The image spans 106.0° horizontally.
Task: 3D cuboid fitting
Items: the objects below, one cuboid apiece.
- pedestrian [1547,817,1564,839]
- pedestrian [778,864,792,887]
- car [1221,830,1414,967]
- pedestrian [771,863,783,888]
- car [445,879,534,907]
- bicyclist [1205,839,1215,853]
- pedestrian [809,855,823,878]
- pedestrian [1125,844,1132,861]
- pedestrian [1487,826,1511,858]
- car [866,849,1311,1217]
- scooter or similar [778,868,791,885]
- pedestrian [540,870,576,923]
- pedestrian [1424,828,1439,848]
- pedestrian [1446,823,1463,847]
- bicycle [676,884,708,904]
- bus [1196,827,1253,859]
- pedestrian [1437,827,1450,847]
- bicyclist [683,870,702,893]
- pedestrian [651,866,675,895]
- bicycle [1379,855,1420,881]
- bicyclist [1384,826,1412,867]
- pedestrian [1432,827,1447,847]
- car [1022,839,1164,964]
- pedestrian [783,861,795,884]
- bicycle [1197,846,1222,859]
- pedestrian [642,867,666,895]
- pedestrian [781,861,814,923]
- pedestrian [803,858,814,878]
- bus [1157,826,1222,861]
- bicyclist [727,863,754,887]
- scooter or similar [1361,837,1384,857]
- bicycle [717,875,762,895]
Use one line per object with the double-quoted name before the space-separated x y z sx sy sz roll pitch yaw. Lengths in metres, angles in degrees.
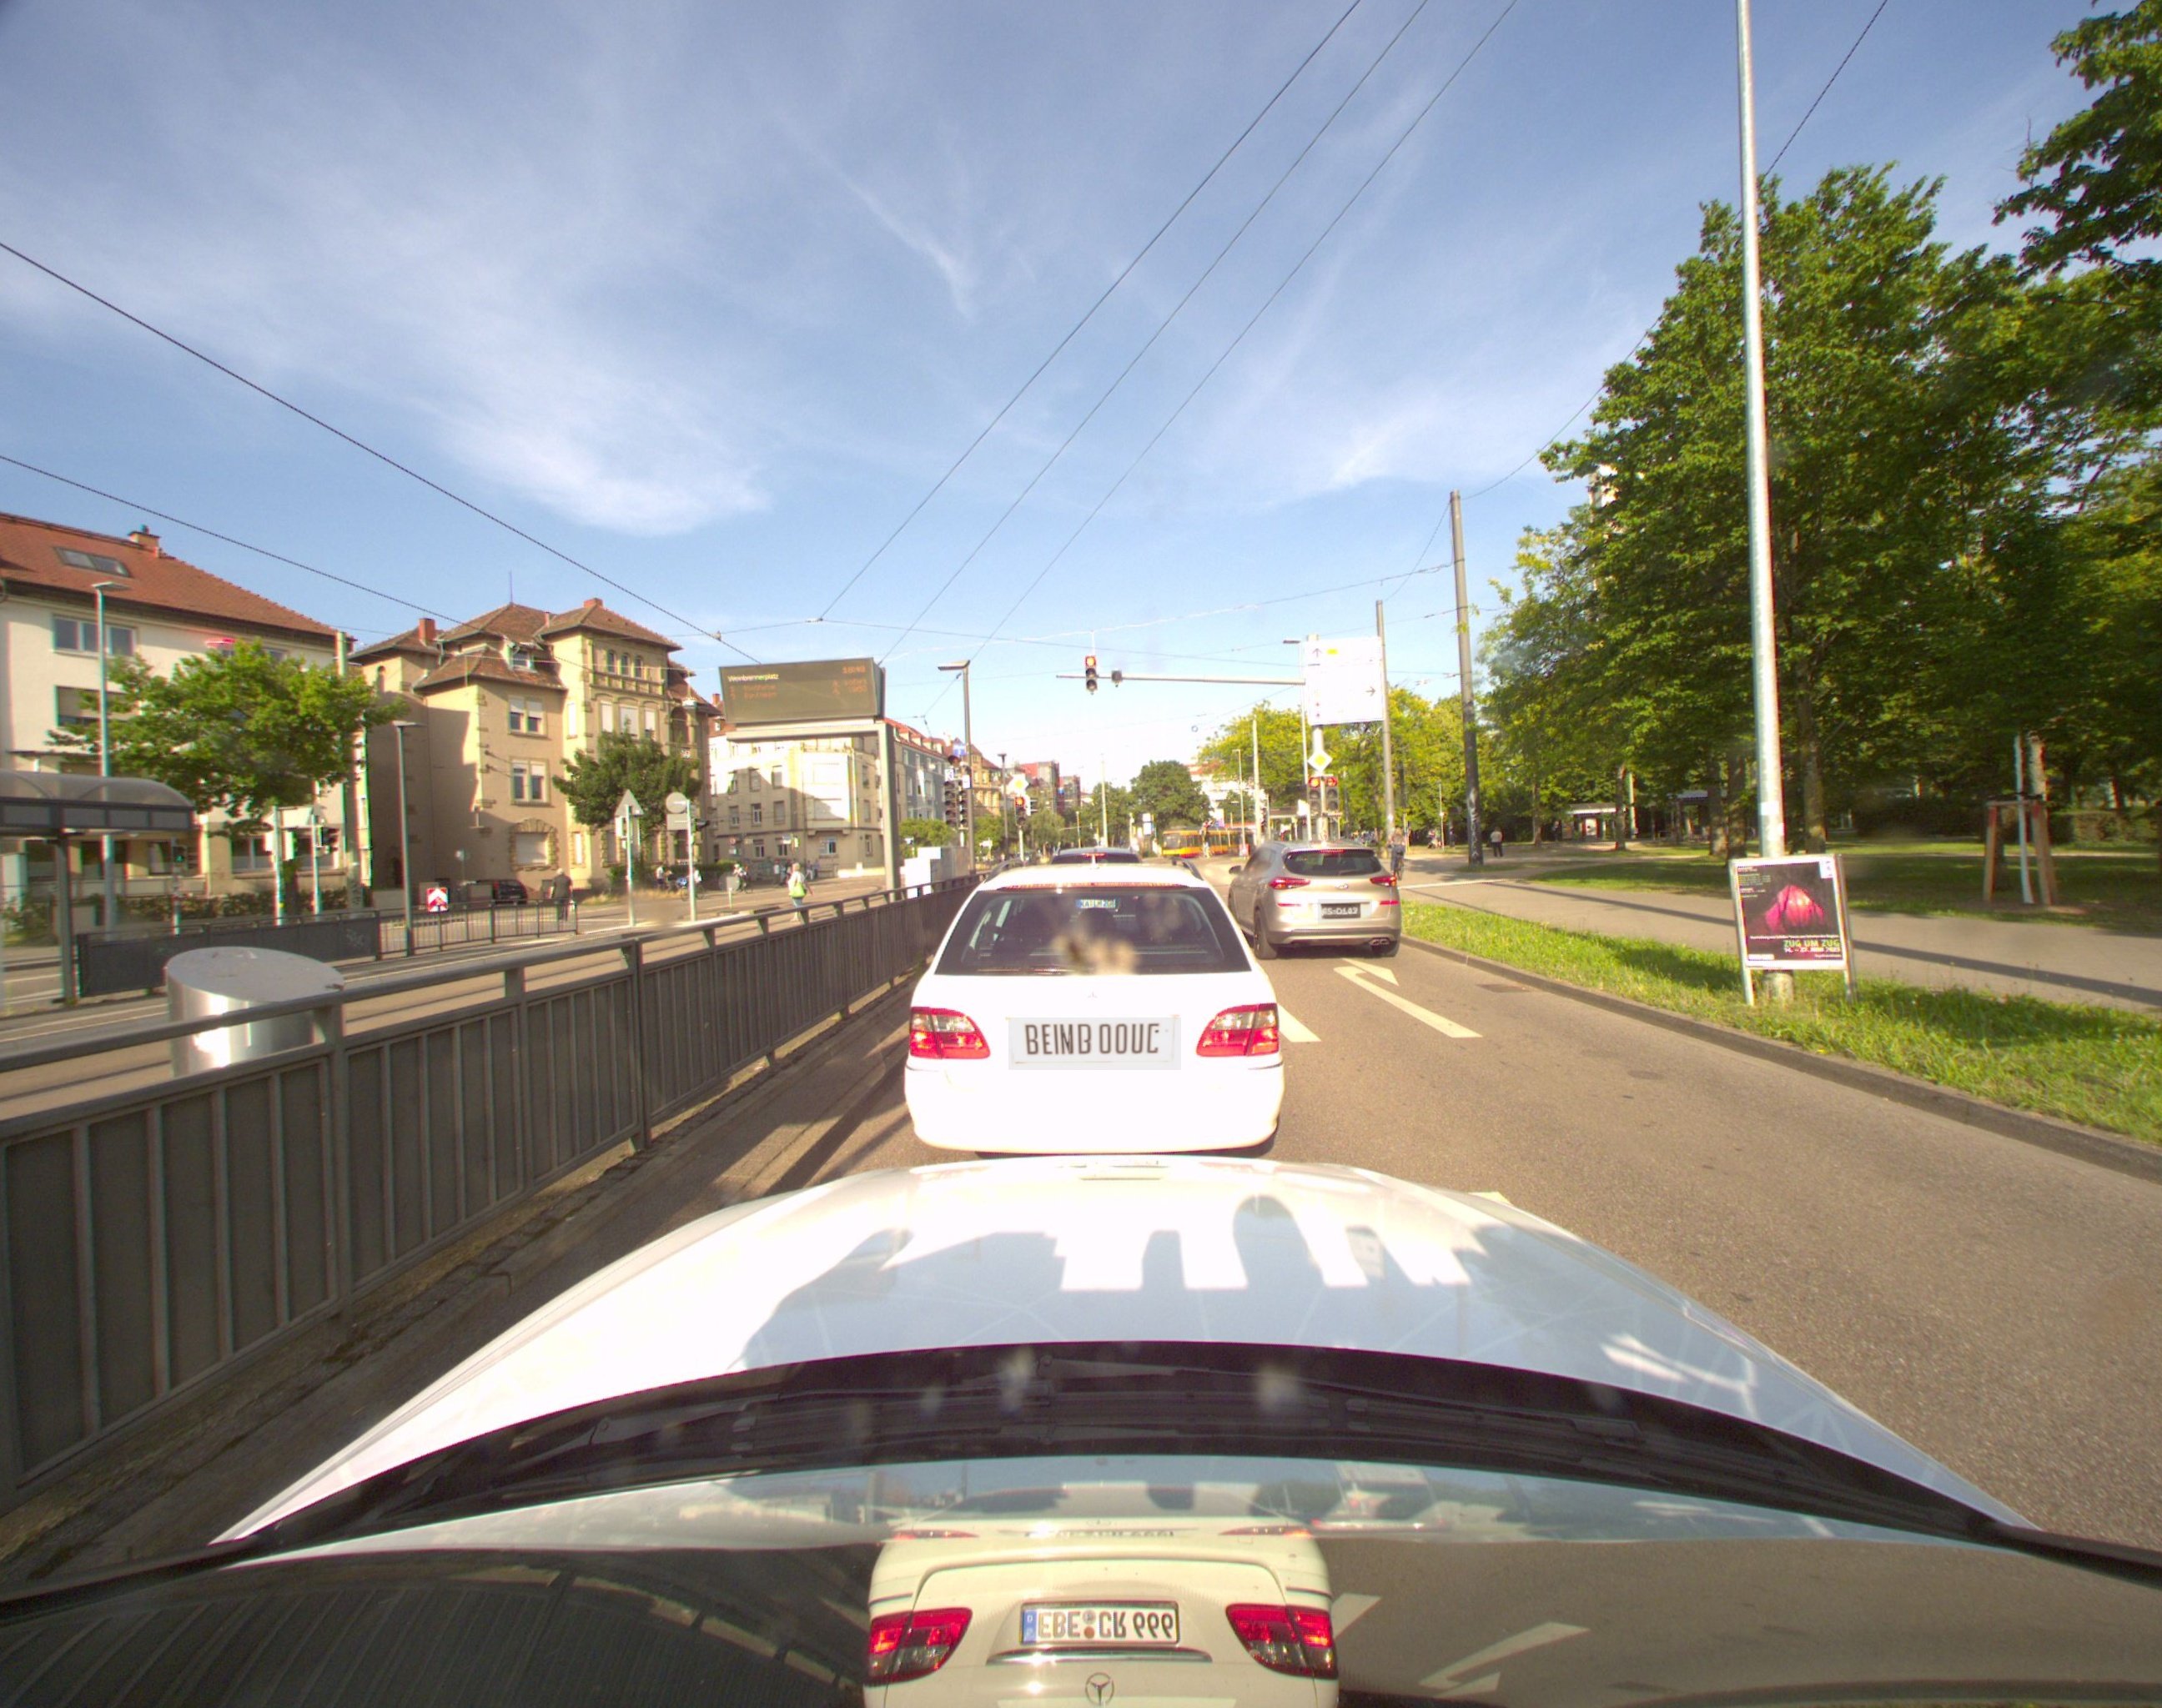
"pedestrian" 36.331 -1.957 62.372 0.831 1.636 0.804 -3 0 8
"pedestrian" -20.131 1.452 55.356 0.626 1.541 0.711 -3 0 1
"car" 3.335 0.564 12.225 1.878 1.651 3.649 -3 0 2
"pedestrian" -19.779 1.387 52.990 0.506 1.626 0.609 -3 0 3
"car" -29.454 1.914 40.565 4.066 1.310 1.774 -1 -1 24
"bicyclist" 13.446 -0.818 84.946 0.855 1.481 0.792 -3 0 11
"pedestrian" -23.292 1.075 71.624 0.768 2.013 0.790 -3 0 17
"pedestrian" 5.057 -0.160 86.973 0.638 1.857 0.554 -3 0 13
"pedestrian" 21.994 -0.632 42.821 0.758 1.636 0.800 -3 0 -38
"car" 0.080 0.728 5.151 1.789 1.470 3.649 -1 0 1
"scooter or similar" -19.558 1.489 53.715 0.541 1.079 0.683 -1 -1 1
"pedestrian" -16.990 1.358 26.456 0.798 1.645 0.748 -3 0 -42
"pedestrian" 27.255 -1.255 63.292 0.820 1.487 0.692 -3 0 -40
"pedestrian" 29.118 -1.492 63.501 0.797 1.785 0.838 -3 0 -2
"bicycle" -18.643 1.906 39.033 0.523 0.834 1.690 -3 0 7
"bus" 17.847 -1.272 100.334 3.079 3.606 12.667 -1 -1 28
"pedestrian" 27.767 -1.317 62.376 0.805 1.487 0.705 -3 0 26
"bicyclist" -18.657 1.316 39.133 0.510 1.044 0.681 -3 0 7
"pedestrian" -23.278 1.484 45.342 0.822 1.552 0.786 -3 0 23
"bicycle" 10.174 0.431 26.077 0.493 0.757 2.169 -4 0 2
"bicyclist" 10.148 -0.251 26.099 0.532 1.262 0.869 -3 0 2
"pedestrian" 28.103 -1.337 63.881 0.813 1.487 0.698 -3 0 -9
"car" 0.222 0.622 12.651 1.878 1.651 3.649 0 0 2
"pedestrian" -18.970 1.196 52.942 0.434 1.500 0.551 -3 0 16
"bicycle" 13.417 -0.164 84.962 2.467 1.213 0.809 -3 0 9
"pedestrian" -24.042 1.515 45.826 0.822 1.552 0.786 -3 0 23
"pedestrian" -7.585 1.009 21.802 0.611 1.599 0.632 -3 0 -5
"pedestrian" -23.696 1.225 70.714 0.615 1.660 0.589 -3 0 17
"bus" 12.050 -1.067 89.114 3.080 3.606 12.448 -1 -1 27
"bicyclist" -19.073 1.166 45.632 0.758 1.262 1.178 -3 0 12
"scooter or similar" 16.190 -0.379 45.275 0.421 1.117 1.322 -3 0 -18
"bicycle" -19.056 1.732 45.585 0.779 0.914 3.006 -3 0 10
